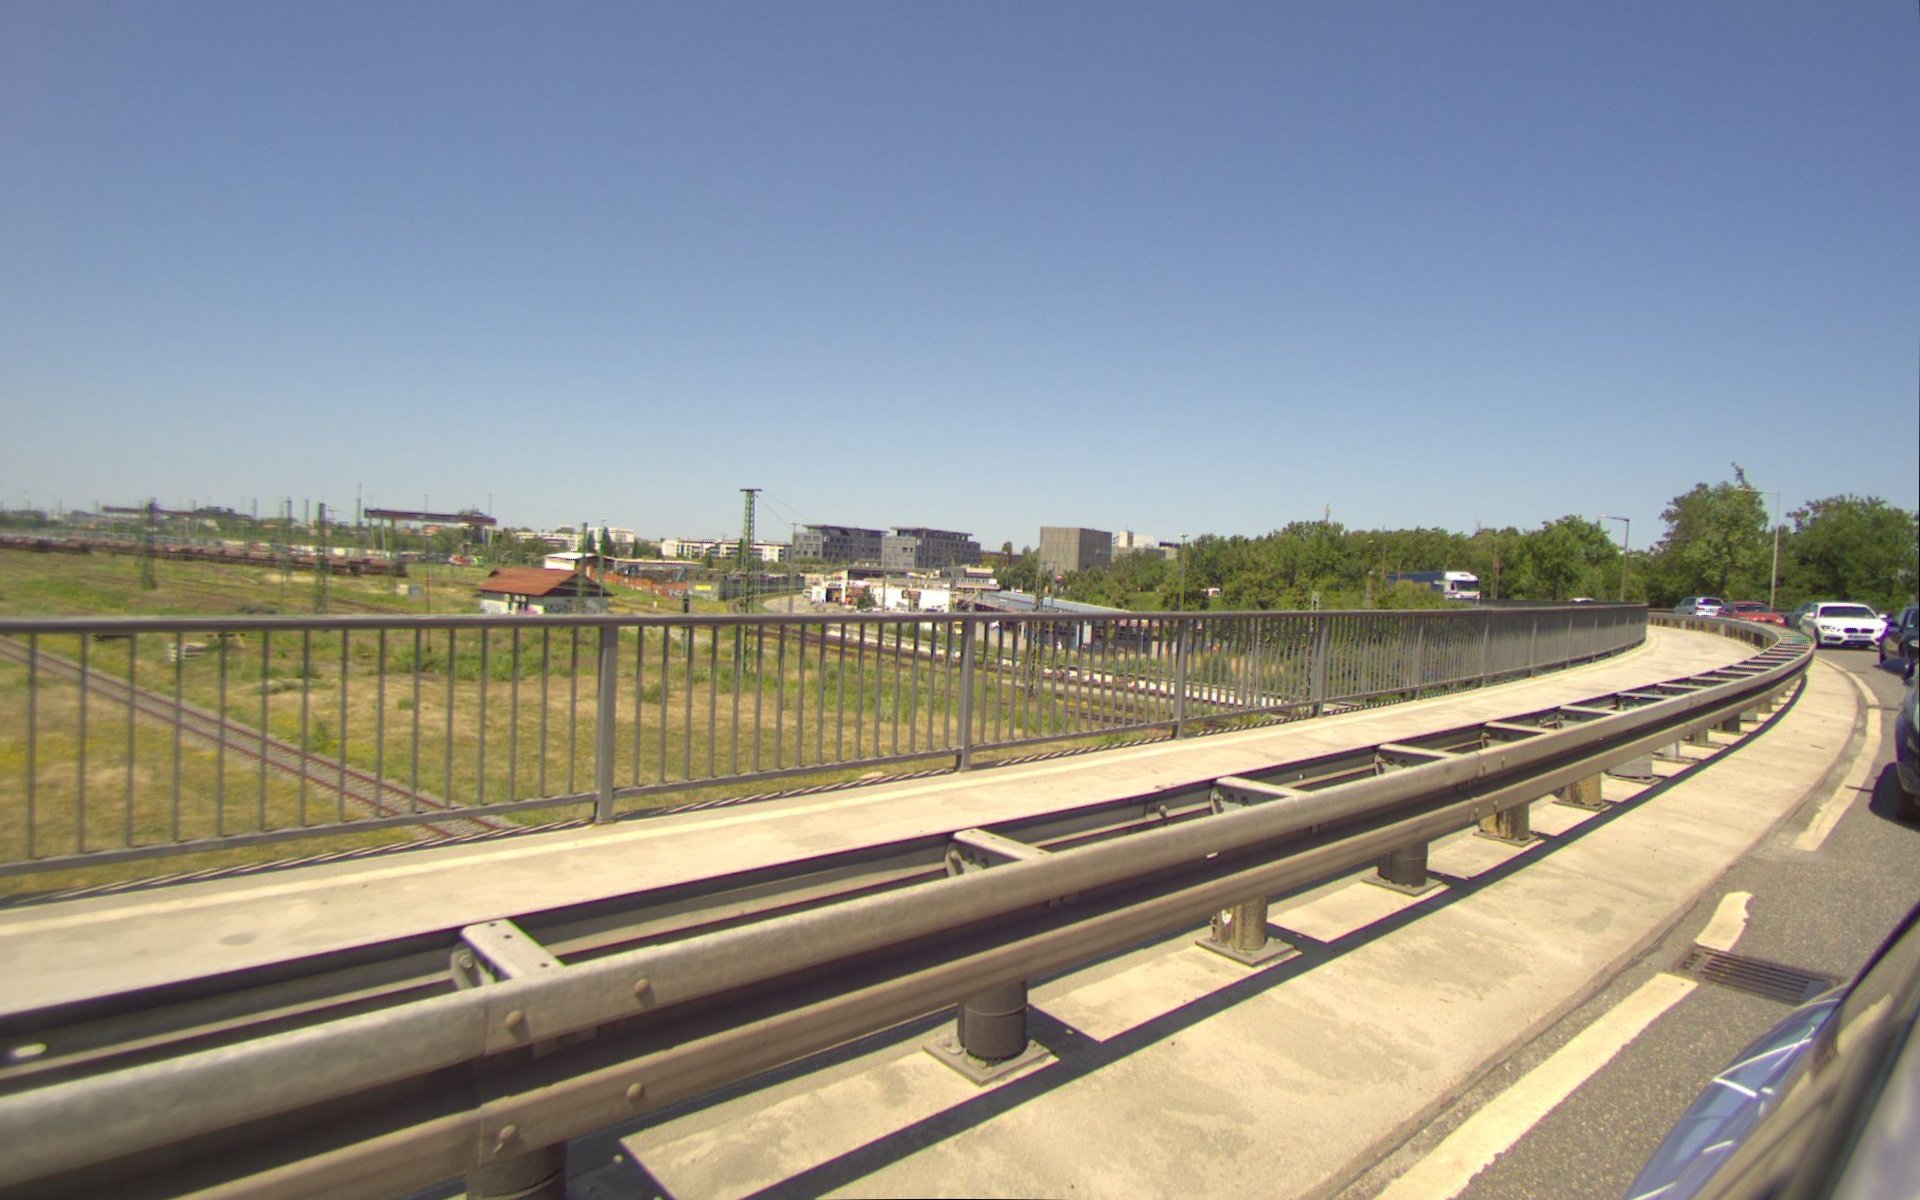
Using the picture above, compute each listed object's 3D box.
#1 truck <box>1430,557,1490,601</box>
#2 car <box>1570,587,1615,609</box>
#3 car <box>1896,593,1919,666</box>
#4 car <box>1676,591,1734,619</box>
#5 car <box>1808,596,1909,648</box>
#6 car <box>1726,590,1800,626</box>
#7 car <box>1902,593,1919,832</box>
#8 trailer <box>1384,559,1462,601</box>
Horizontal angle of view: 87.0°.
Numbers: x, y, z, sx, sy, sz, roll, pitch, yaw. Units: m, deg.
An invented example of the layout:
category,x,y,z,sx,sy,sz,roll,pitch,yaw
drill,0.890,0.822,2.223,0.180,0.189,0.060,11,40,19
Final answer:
category,x,y,z,sx,sy,sz,roll,pitch,yaw
truck,50.517,-2.061,102.461,2.646,4.281,6.838,0,0,1
car,51.046,-0.187,81.771,1.672,1.627,3.989,2,1,10
car,21.311,0.598,21.632,1.788,1.473,4.455,1,1,41
car,46.530,0.310,63.284,1.677,1.627,3.978,2,1,17
car,27.906,0.623,31.568,1.784,1.473,4.467,1,1,34
car,35.591,0.310,44.970,1.780,1.473,4.478,2,2,28
car,7.797,0.696,6.914,3.931,1.457,1.643,0,0,-42
trailer,50.512,-2.184,110.924,2.651,4.287,12.714,0,1,0
